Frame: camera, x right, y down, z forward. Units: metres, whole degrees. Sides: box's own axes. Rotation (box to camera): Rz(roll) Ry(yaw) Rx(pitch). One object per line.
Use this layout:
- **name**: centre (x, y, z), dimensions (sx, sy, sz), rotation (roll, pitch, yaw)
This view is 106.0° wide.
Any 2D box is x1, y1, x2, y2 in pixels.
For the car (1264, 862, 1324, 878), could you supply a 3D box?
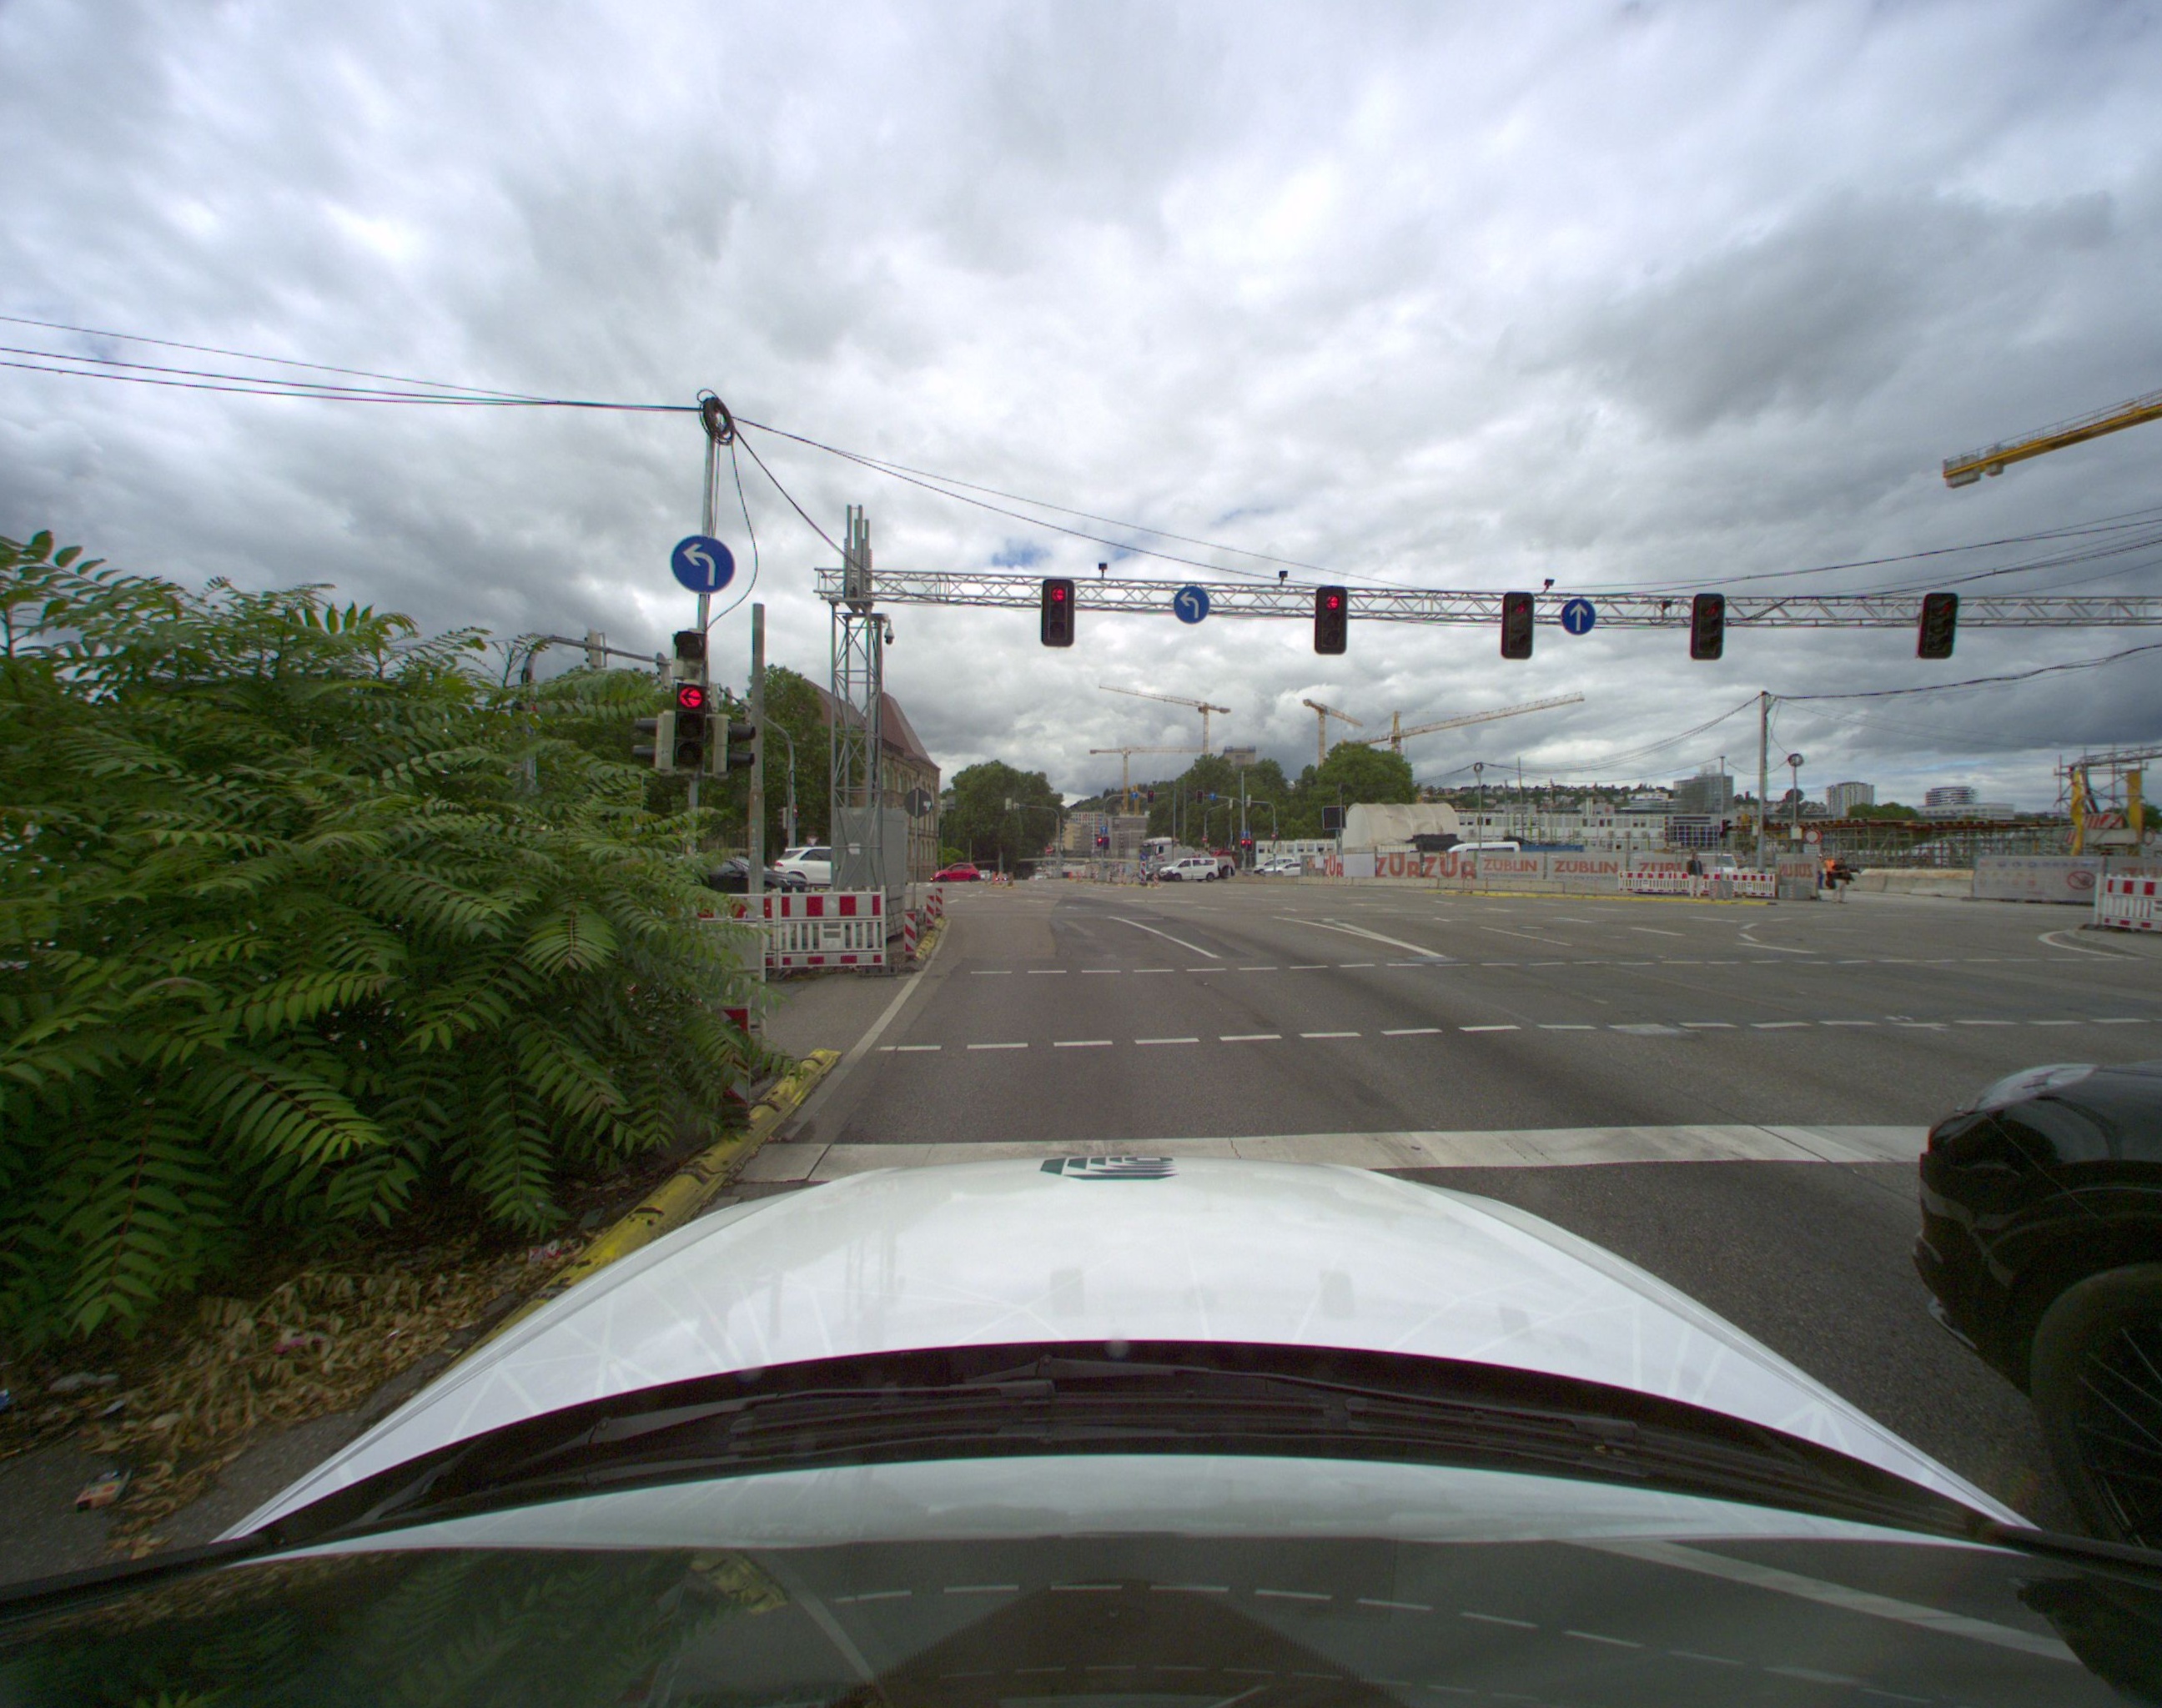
- **car**: centre (19.844, 1.512, 75.905), dimensions (5.153, 1.419, 2.221), rotation (0, -1, -22)

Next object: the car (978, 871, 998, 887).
- **car**: centre (-11.045, 2.932, 97.288), dimensions (1.987, 1.838, 3.998), rotation (0, -1, -1)

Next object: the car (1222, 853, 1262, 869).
- **car**: centre (18.632, 0.835, 94.284), dimensions (3.948, 1.838, 2.013), rotation (-1, -1, 33)

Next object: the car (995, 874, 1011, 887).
- **car**: centre (-11.631, 3.876, 121.025), dimensions (1.987, 1.838, 3.998), rotation (0, -1, -1)

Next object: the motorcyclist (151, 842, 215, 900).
- **motorcyclist**: centre (-22.075, 0.413, 20.036), dimensions (0.786, 1.380, 0.697), rotation (0, -1, -2)

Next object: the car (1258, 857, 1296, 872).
- **car**: centre (21.258, 1.134, 88.571), dimensions (3.960, 1.651, 1.873), rotation (-1, -1, 12)

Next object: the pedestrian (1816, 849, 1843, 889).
- **pedestrian**: centre (38.284, 0.743, 41.656), dimensions (0.673, 2.014, 0.869), rotation (-1, -1, 14)

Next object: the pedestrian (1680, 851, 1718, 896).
- **pedestrian**: centre (25.770, 0.811, 33.984), dimensions (1.035, 1.848, 0.794), rotation (-1, -1, 17)

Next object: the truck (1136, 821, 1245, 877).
- **truck**: centre (10.167, -0.433, 75.549), dimensions (9.752, 4.961, 3.091), rotation (0, -1, -22)

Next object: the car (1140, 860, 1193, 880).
- **car**: centre (7.470, 1.386, 70.894), dimensions (4.176, 1.701, 1.955), rotation (0, -1, -18)

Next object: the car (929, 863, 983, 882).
- **car**: centre (-9.593, 1.406, 62.556), dimensions (3.820, 1.386, 1.792), rotation (0, -1, -20)

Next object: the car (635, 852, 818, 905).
- **car**: centre (-10.306, 0.706, 23.923), dimensions (4.476, 1.466, 2.000), rotation (0, -1, 0)

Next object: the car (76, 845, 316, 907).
- **car**: centre (-23.399, 0.558, 21.675), dimensions (4.095, 1.547, 1.999), rotation (0, -1, -2)

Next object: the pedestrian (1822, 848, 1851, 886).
- **pedestrian**: centre (39.096, 0.668, 42.149), dimensions (0.677, 1.916, 0.865), rotation (0, -1, -4)

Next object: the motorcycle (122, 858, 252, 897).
- **motorcycle**: centre (-21.966, 0.570, 20.045), dimensions (2.342, 0.941, 0.697), rotation (0, -1, -2)

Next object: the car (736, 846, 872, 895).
- **car**: centre (-10.381, 0.621, 30.778), dimensions (4.482, 1.759, 1.997), rotation (0, -1, -5)

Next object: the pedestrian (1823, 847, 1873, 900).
- **pedestrian**: centre (29.589, 0.756, 31.422), dimensions (1.035, 2.014, 1.039), rotation (-1, -1, 18)

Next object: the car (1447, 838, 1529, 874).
- **car**: centre (23.464, 0.122, 47.100), dimensions (3.955, 2.014, 2.009), rotation (-1, -1, 17)

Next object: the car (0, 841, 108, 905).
- **car**: centre (-31.139, 0.514, 23.334), dimensions (4.063, 1.740, 1.909), rotation (1, -1, -1)

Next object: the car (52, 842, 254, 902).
- **car**: centre (-28.769, 0.544, 25.357), dimensions (3.975, 1.740, 1.909), rotation (1, -1, -1)

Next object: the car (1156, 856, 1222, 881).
- **car**: centre (9.012, 1.195, 68.224), dimensions (5.149, 2.014, 2.063), rotation (0, -1, -21)

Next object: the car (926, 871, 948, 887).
- **car**: centre (-17.650, 3.003, 99.880), dimensions (1.987, 1.838, 3.998), rotation (0, -1, -1)

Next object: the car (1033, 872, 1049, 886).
- **car**: centre (-5.587, 3.447, 114.513), dimensions (1.987, 1.838, 3.998), rotation (0, -1, -1)
